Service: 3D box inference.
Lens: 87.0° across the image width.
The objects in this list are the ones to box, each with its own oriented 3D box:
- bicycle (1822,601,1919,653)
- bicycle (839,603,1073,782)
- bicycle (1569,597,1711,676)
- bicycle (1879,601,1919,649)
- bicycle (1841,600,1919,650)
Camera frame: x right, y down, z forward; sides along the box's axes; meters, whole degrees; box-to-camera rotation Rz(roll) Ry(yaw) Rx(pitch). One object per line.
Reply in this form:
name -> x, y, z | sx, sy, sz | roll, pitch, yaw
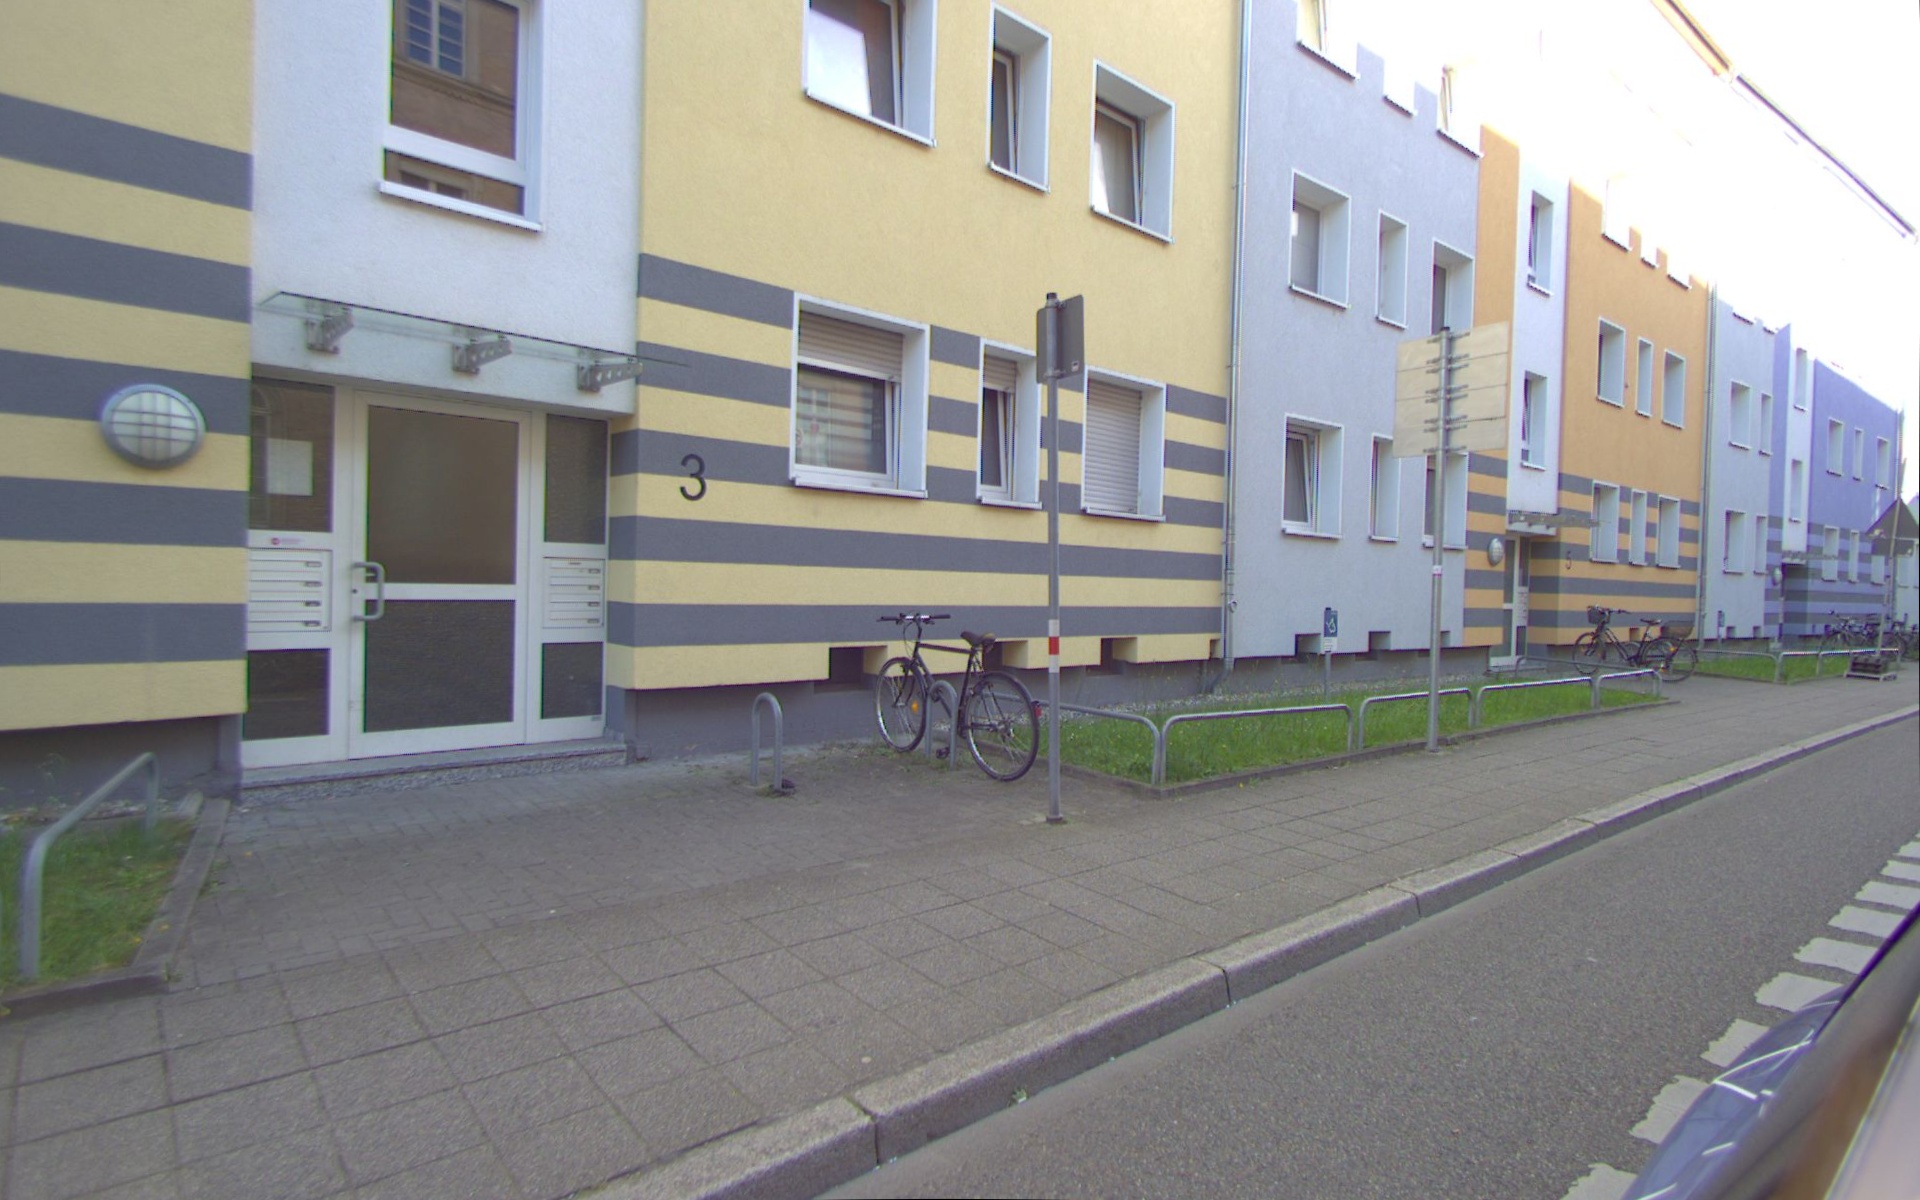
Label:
bicycle -> 22.222, 0.640, 24.725 | 0.475, 1.166, 1.678 | 1, 1, -37
bicycle -> -0.079, 0.573, 7.014 | 1.775, 1.031, 0.476 | 3, 1, 44
bicycle -> 10.683, 0.545, 15.943 | 1.775, 1.137, 0.476 | 3, 1, 44
bicycle -> 24.131, 0.634, 25.274 | 0.475, 1.166, 1.678 | 1, 1, -37
bicycle -> 23.303, 0.622, 25.418 | 0.475, 1.166, 1.678 | 1, 1, -37
